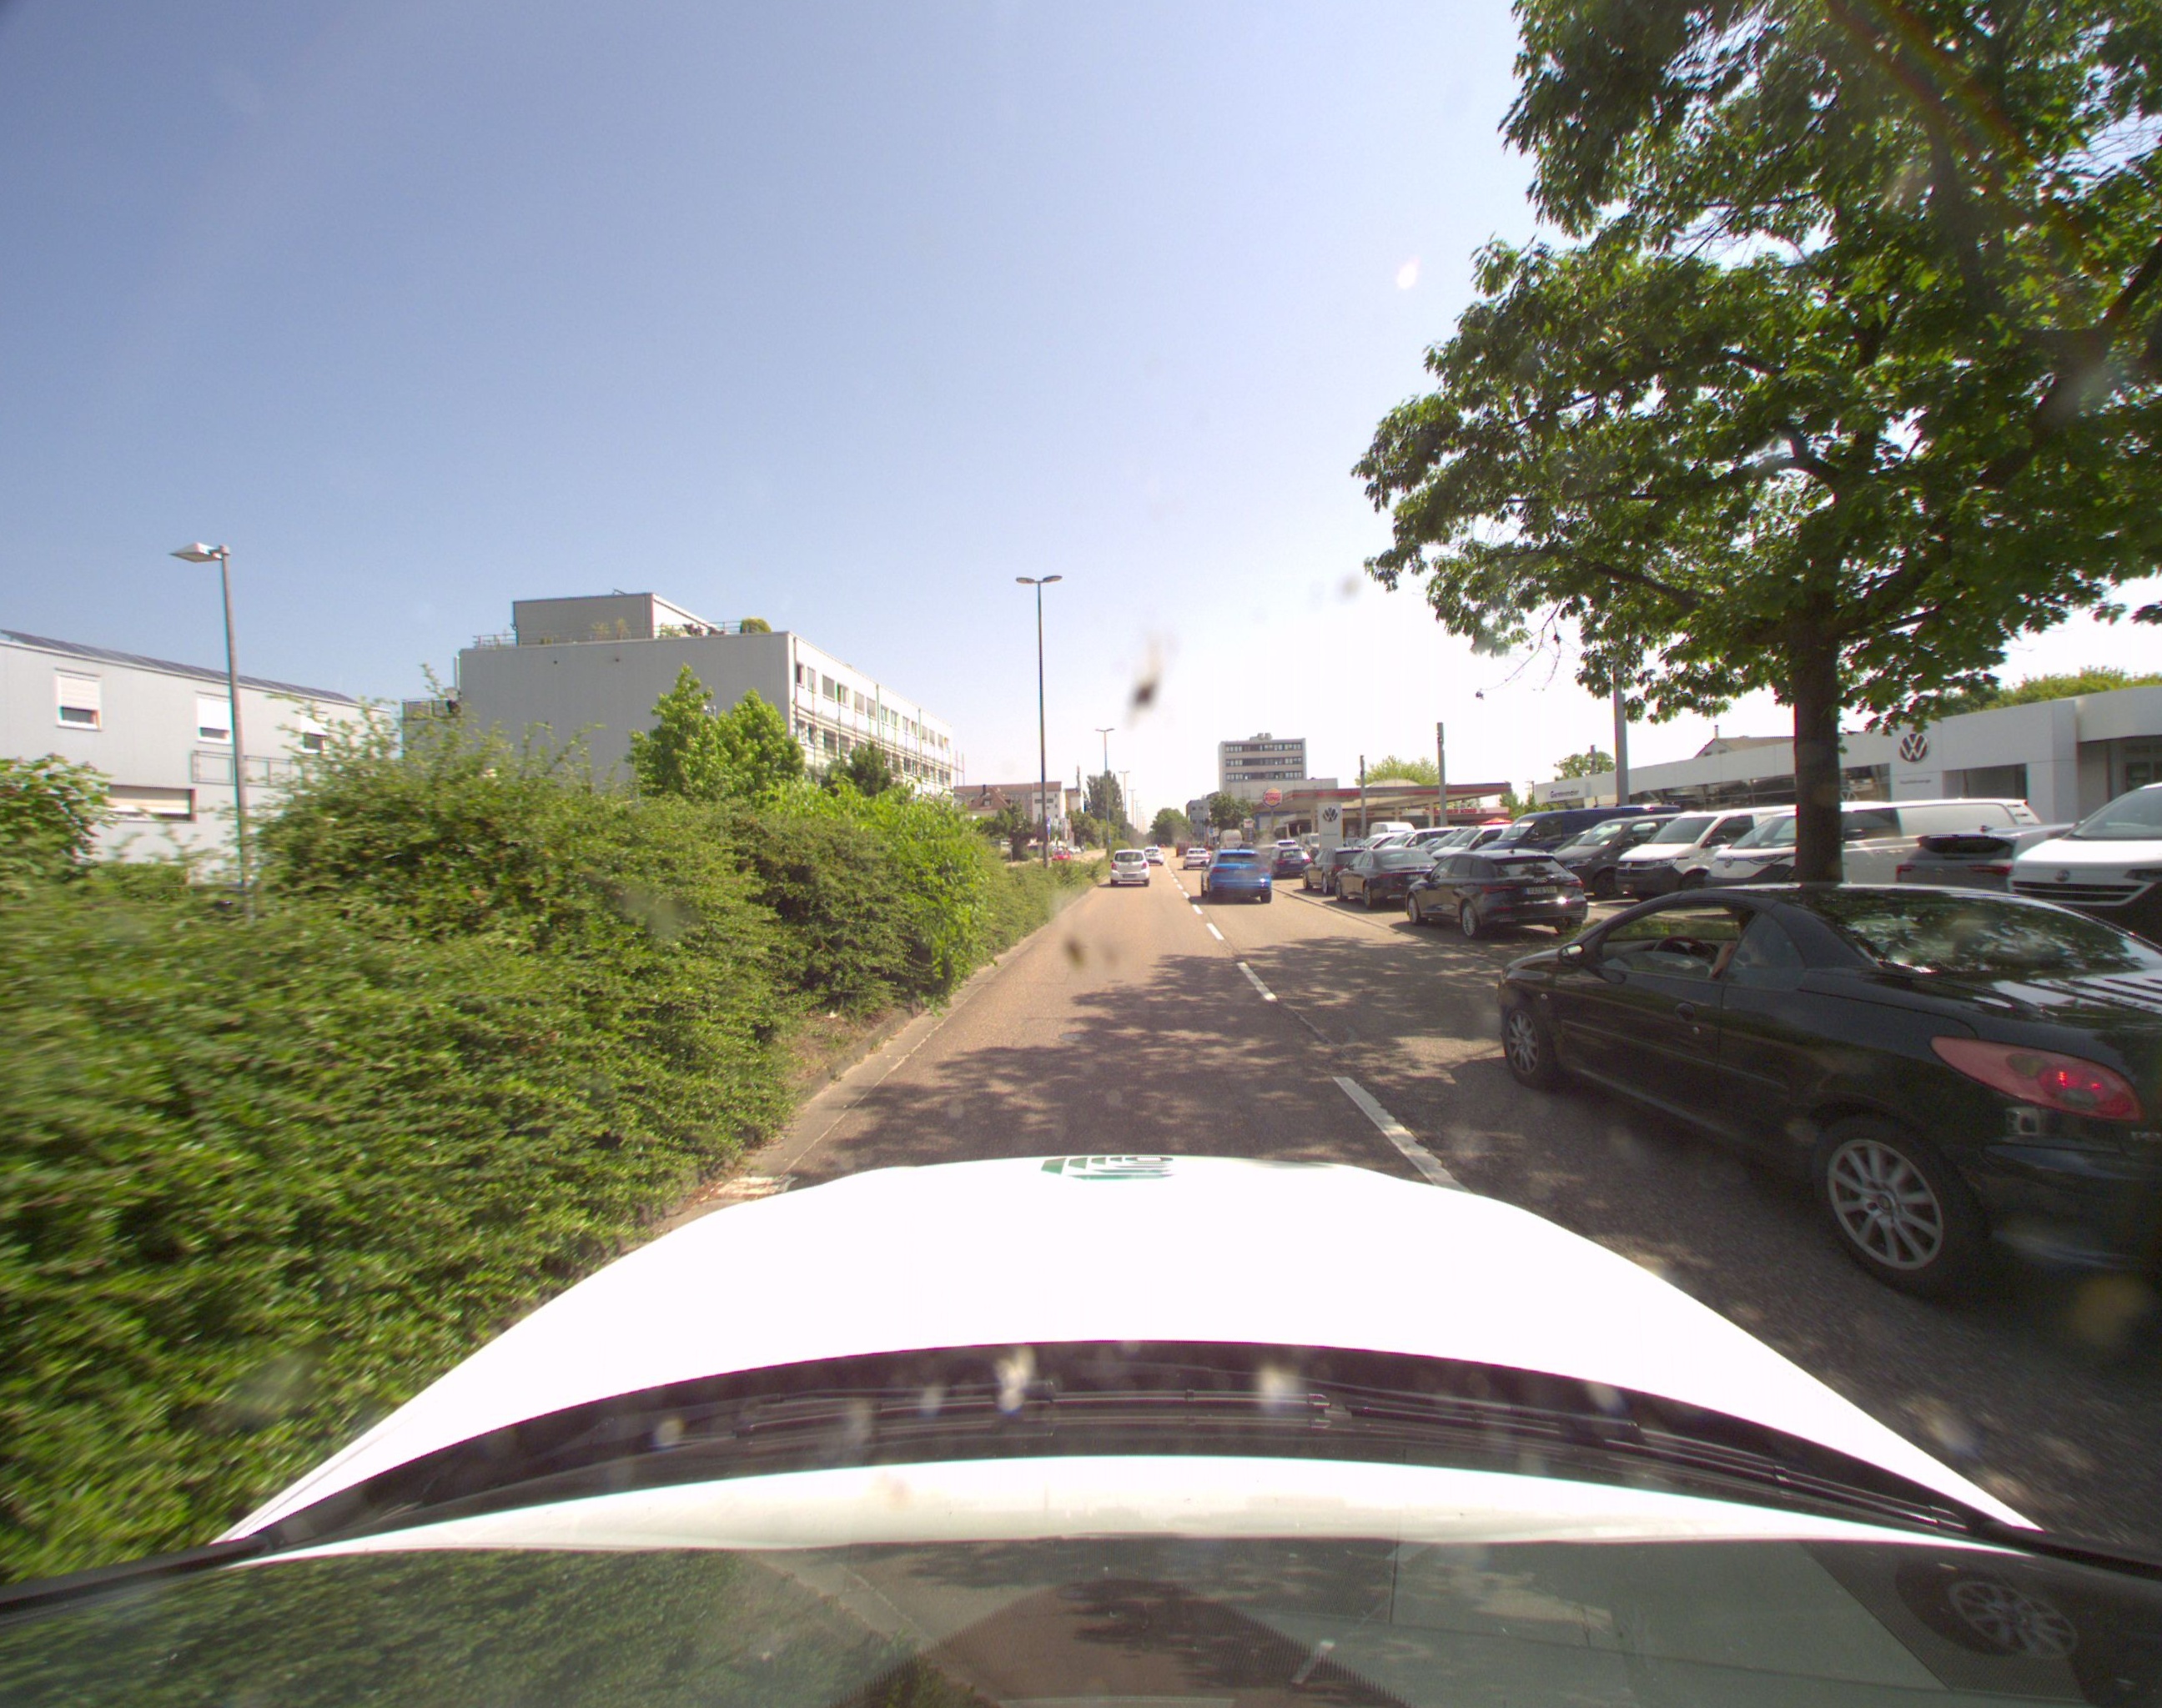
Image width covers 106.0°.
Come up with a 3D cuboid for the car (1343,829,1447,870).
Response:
[{"bbox_3d":[15.872,-0.197,41.374,4.536,1.888,1.858,-2,-1,3],"label":"car"}]

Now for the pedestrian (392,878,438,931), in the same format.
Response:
[{"bbox_3d":[-20.131,1.518,24.629,0.639,1.584,0.826,-1,-2,3],"label":"pedestrian"}]

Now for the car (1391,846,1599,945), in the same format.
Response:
[{"bbox_3d":[7.166,0.642,14.671,1.674,1.435,4.443,-3,0,4],"label":"car"}]

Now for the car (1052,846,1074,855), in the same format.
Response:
[{"bbox_3d":[-3.354,-0.611,155.819,3.965,1.552,1.869,-1,-2,7],"label":"car"}]

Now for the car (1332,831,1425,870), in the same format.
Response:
[{"bbox_3d":[16.198,-0.189,44.537,4.393,1.882,1.911,-2,0,3],"label":"car"}]

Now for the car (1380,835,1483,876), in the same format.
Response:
[{"bbox_3d":[14.392,0.062,33.573,3.608,1.570,1.721,-1,0,10],"label":"car"}]

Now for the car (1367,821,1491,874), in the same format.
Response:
[{"bbox_3d":[15.399,-0.279,36.193,4.621,2.013,1.962,-3,1,2],"label":"car"}]

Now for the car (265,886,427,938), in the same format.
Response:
[{"bbox_3d":[-26.803,2.093,29.798,3.959,1.467,2.074,-4,0,2],"label":"car"}]

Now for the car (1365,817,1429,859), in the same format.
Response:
[{"bbox_3d":[21.994,-1.105,56.985,2.245,2.675,7.028,-2,0,5],"label":"car"}]

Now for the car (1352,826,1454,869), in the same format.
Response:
[{"bbox_3d":[15.418,-0.265,39.176,4.132,1.781,1.883,-3,-2,3],"label":"car"}]

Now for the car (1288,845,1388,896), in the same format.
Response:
[{"bbox_3d":[8.485,0.494,27.398,1.848,1.481,5.158,-2,0,2],"label":"car"}]

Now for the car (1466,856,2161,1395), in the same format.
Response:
[{"bbox_3d":[3.562,0.752,4.071,1.594,1.425,3.662,-2,0,2],"label":"car"}]

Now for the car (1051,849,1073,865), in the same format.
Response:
[{"bbox_3d":[-1.880,0.290,80.661,1.622,1.424,3.456,-4,0,6],"label":"car"}]

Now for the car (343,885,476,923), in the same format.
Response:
[{"bbox_3d":[-26.878,1.997,32.680,3.821,1.285,1.863,-2,0,4],"label":"car"}]

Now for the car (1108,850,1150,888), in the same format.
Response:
[{"bbox_3d":[2.006,0.651,34.818,1.705,1.511,3.248,-1,-2,2],"label":"car"}]

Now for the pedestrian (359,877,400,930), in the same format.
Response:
[{"bbox_3d":[-21.005,1.471,24.389,0.577,1.579,0.704,-1,-2,3],"label":"pedestrian"}]

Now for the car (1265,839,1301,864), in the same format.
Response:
[{"bbox_3d":[14.175,-0.217,57.347,1.659,1.596,4.619,-3,1,5],"label":"car"}]

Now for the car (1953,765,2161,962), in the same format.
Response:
[{"bbox_3d":[13.310,-0.026,8.947,4.890,1.971,2.144,-3,0,4],"label":"car"}]

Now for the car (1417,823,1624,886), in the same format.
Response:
[{"bbox_3d":[14.962,0.020,28.036,5.865,2.014,2.262,-1,0,5],"label":"car"}]

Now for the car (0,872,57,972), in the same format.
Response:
[{"bbox_3d":[-17.098,1.084,11.290,3.976,1.371,1.672,-4,1,6],"label":"car"}]

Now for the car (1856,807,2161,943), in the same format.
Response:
[{"bbox_3d":[13.853,0.225,11.518,4.013,1.470,1.913,-5,1,-2],"label":"car"}]

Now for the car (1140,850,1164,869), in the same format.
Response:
[{"bbox_3d":[5.700,0.462,65.933,1.822,1.450,4.003,-1,-1,3],"label":"car"}]

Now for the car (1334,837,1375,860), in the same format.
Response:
[{"bbox_3d":[19.149,-0.393,57.221,1.735,1.513,4.607,0,1,5],"label":"car"}]

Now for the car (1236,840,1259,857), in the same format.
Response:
[{"bbox_3d":[15.437,-0.515,75.646,1.649,1.519,3.825,-3,0,5],"label":"car"}]

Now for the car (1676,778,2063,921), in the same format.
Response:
[{"bbox_3d":[13.803,-0.041,14.578,4.488,2.013,2.201,-5,-1,5],"label":"car"}]

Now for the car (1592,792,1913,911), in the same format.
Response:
[{"bbox_3d":[14.304,-0.038,17.622,5.042,2.097,2.042,-4,0,4],"label":"car"}]

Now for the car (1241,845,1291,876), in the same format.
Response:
[{"bbox_3d":[9.970,0.295,44.092,1.727,1.552,4.179,-1,1,0],"label":"car"}]

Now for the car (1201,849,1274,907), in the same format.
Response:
[{"bbox_3d":[4.686,0.652,24.950,1.903,1.597,4.404,-1,0,7],"label":"car"}]

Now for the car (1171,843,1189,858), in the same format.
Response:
[{"bbox_3d":[11.683,-0.383,96.211,1.787,1.729,3.975,-1,-1,3],"label":"car"}]

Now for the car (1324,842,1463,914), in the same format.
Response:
[{"bbox_3d":[7.984,0.533,21.419,1.952,1.530,5.168,-4,0,5],"label":"car"}]

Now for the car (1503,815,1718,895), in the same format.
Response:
[{"bbox_3d":[14.488,0.009,22.508,4.548,1.851,1.954,-3,0,3],"label":"car"}]

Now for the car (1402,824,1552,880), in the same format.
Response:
[{"bbox_3d":[14.931,-0.103,30.915,4.764,1.984,2.007,-1,2,5],"label":"car"}]

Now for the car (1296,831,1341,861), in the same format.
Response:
[{"bbox_3d":[16.587,-0.549,57.106,1.984,2.023,5.166,-1,0,4],"label":"car"}]

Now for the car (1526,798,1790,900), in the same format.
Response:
[{"bbox_3d":[14.048,-0.127,20.096,4.878,2.114,2.131,-3,0,3],"label":"car"}]

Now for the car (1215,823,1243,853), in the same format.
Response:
[{"bbox_3d":[16.149,-1.730,89.241,2.123,2.839,7.319,-6,0,5],"label":"car"}]

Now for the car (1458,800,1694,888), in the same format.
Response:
[{"bbox_3d":[15.086,-0.266,25.167,5.812,2.524,2.209,-1,-1,7],"label":"car"}]

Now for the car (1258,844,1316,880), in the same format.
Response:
[{"bbox_3d":[9.717,0.356,38.713,1.706,1.548,4.794,-3,0,3],"label":"car"}]

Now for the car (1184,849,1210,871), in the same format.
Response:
[{"bbox_3d":[7.759,0.428,54.614,1.658,1.399,3.800,-1,-1,7],"label":"car"}]

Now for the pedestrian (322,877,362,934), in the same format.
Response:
[{"bbox_3d":[-21.852,1.512,24.087,0.543,1.657,0.625,-1,-2,3],"label":"pedestrian"}]

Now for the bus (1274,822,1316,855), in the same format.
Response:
[{"bbox_3d":[21.751,-1.642,83.422,2.788,3.078,12.315,-1,1,8],"label":"bus"}]
